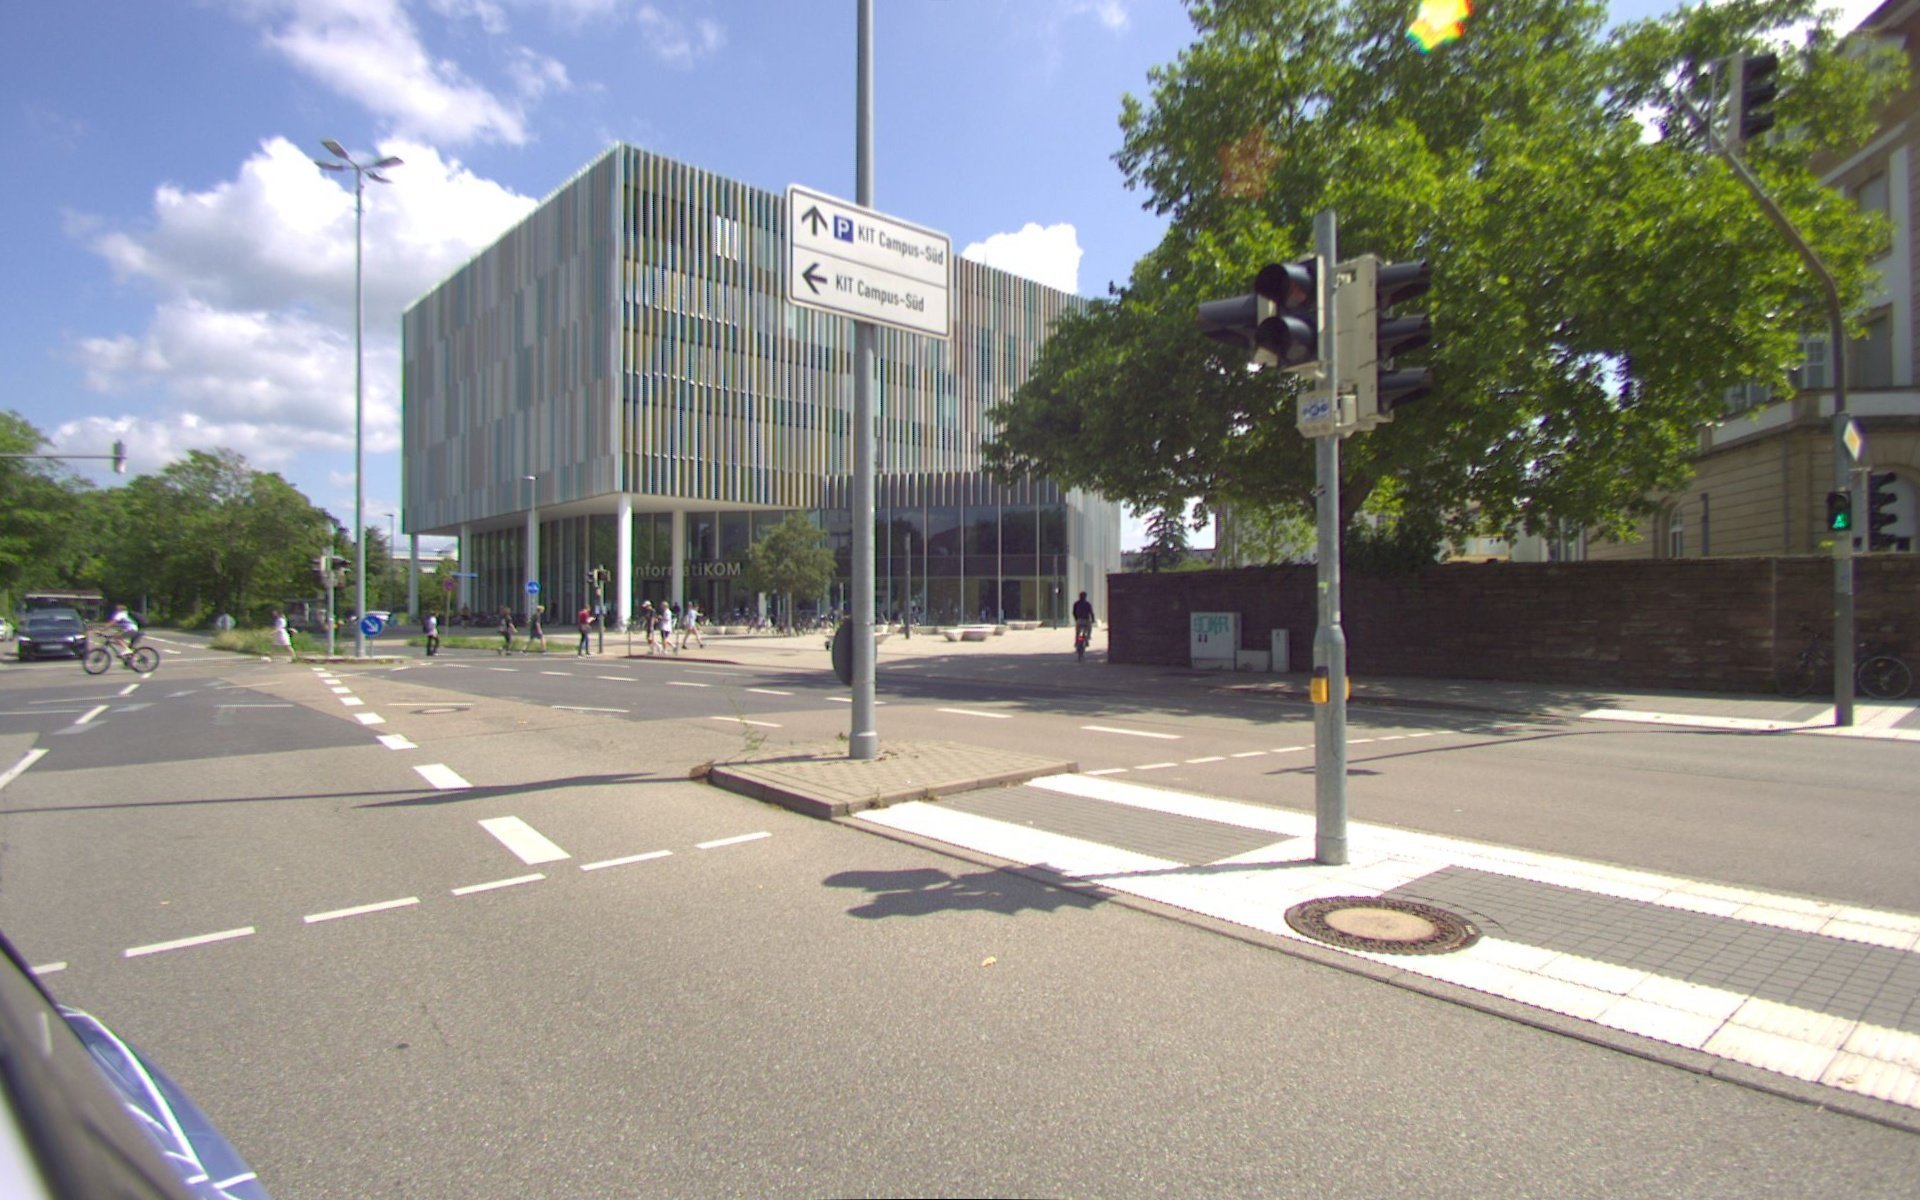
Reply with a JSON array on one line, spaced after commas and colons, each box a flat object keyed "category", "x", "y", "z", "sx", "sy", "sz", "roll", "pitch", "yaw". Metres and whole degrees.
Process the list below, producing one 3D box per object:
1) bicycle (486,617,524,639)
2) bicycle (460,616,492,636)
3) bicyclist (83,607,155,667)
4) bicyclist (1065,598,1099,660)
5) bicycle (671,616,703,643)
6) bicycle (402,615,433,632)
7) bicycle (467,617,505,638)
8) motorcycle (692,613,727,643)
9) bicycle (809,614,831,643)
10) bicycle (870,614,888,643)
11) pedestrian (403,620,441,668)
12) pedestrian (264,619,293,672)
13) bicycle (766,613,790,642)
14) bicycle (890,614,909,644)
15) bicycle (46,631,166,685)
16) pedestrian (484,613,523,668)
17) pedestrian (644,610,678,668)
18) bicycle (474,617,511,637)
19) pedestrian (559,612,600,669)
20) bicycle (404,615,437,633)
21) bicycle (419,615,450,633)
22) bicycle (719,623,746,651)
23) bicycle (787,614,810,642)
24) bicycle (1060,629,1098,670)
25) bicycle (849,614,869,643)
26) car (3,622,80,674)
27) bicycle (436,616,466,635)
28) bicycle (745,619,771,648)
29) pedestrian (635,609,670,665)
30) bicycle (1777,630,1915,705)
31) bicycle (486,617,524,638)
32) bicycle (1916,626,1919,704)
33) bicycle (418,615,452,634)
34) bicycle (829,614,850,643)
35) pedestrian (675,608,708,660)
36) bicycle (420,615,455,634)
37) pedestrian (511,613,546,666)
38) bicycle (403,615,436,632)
[{"category": "bicycle", "x": -32.699, "y": 2.011, "z": 72.786, "sx": 2.415, "sy": 1.506, "sz": 0.622, "roll": 0, "pitch": -1, "yaw": -40}, {"category": "bicycle", "x": -37.223, "y": 2.026, "z": 77.858, "sx": 2.167, "sy": 1.506, "sz": 0.622, "roll": 0, "pitch": -1, "yaw": -40}, {"category": "bicyclist", "x": -20.982, "y": 0.896, "z": 25.278, "sx": 1.059, "sy": 1.455, "sz": 0.974, "roll": 0, "pitch": -1, "yaw": -12}, {"category": "bicyclist", "x": 3.377, "y": 0.793, "z": 27.983, "sx": 0.778, "sy": 1.680, "sz": 1.104, "roll": -1, "pitch": -1, "yaw": 15}, {"category": "bicycle", "x": -15.629, "y": 1.679, "z": 57.971, "sx": 0.921, "sy": 1.505, "sz": 2.684, "roll": -1, "pitch": -1, "yaw": 4}, {"category": "bicycle", "x": -47.921, "y": 2.063, "z": 89.390, "sx": 2.268, "sy": 1.506, "sz": 0.658, "roll": 0, "pitch": -1, "yaw": -40}, {"category": "bicycle", "x": -35.321, "y": 2.018, "z": 75.402, "sx": 2.474, "sy": 1.506, "sz": 0.622, "roll": 0, "pitch": -1, "yaw": -40}, {"category": "motorcycle", "x": -14.291, "y": 1.574, "z": 57.871, "sx": 0.959, "sy": 1.652, "sz": 3.294, "roll": 0, "pitch": -1, "yaw": 4}, {"category": "bicycle", "x": -7.847, "y": 1.557, "z": 56.833, "sx": 0.985, "sy": 1.564, "sz": 3.418, "roll": 0, "pitch": -1, "yaw": -4}, {"category": "bicycle", "x": -4.512, "y": 1.567, "z": 56.612, "sx": 0.985, "sy": 1.564, "sz": 3.418, "roll": 0, "pitch": -1, "yaw": -4}, {"category": "pedestrian", "x": -18.671, "y": 1.516, "z": 35.123, "sx": 0.972, "sy": 1.641, "sz": 0.867, "roll": -1, "pitch": -1, "yaw": 42}, {"category": "pedestrian", "x": -19.818, "y": 1.326, "z": 29.440, "sx": 0.415, "sy": 1.515, "sz": 0.584, "roll": -1, "pitch": -1, "yaw": 31}, {"category": "bicycle", "x": -10.335, "y": 1.553, "z": 57.474, "sx": 0.985, "sy": 1.564, "sz": 3.418, "roll": 0, "pitch": -1, "yaw": -4}, {"category": "bicycle", "x": -3.343, "y": 1.552, "z": 55.422, "sx": 0.985, "sy": 1.564, "sz": 3.418, "roll": 0, "pitch": -1, "yaw": -4}, {"category": "bicycle", "x": -21.229, "y": 1.421, "z": 25.208, "sx": 2.130, "sy": 1.261, "sz": 0.887, "roll": 0, "pitch": -1, "yaw": -11}, {"category": "pedestrian", "x": -16.302, "y": 1.424, "z": 36.148, "sx": 0.966, "sy": 1.940, "sz": 0.872, "roll": -1, "pitch": -1, "yaw": 24}, {"category": "pedestrian", "x": -10.270, "y": 1.333, "z": 34.723, "sx": 1.090, "sy": 1.940, "sz": 0.975, "roll": 0, "pitch": -1, "yaw": -18}, {"category": "bicycle", "x": -35.352, "y": 2.024, "z": 76.565, "sx": 2.474, "sy": 1.506, "sz": 0.622, "roll": 0, "pitch": -1, "yaw": -40}, {"category": "pedestrian", "x": -13.340, "y": 1.409, "z": 35.465, "sx": 1.091, "sy": 1.940, "sz": 0.974, "roll": 0, "pitch": -1, "yaw": -38}, {"category": "bicycle", "x": -46.782, "y": 2.057, "z": 87.744, "sx": 2.474, "sy": 1.506, "sz": 0.622, "roll": 0, "pitch": -1, "yaw": -40}, {"category": "bicycle", "x": -44.679, "y": 2.052, "z": 86.085, "sx": 2.295, "sy": 1.506, "sz": 0.622, "roll": 0, "pitch": -1, "yaw": -40}, {"category": "bicycle", "x": -12.985, "y": 2.098, "z": 57.891, "sx": 1.036, "sy": 1.564, "sz": 3.418, "roll": 0, "pitch": -1, "yaw": -4}, {"category": "bicycle", "x": -9.119, "y": 1.557, "z": 57.302, "sx": 0.985, "sy": 1.564, "sz": 3.418, "roll": 0, "pitch": -1, "yaw": -4}, {"category": "bicycle", "x": 3.290, "y": 1.343, "z": 27.909, "sx": 0.809, "sy": 1.071, "sz": 1.887, "roll": -1, "pitch": -1, "yaw": 14}, {"category": "bicycle", "x": -5.635, "y": 1.561, "z": 56.566, "sx": 0.985, "sy": 1.564, "sz": 3.418, "roll": 0, "pitch": -1, "yaw": -4}, {"category": "car", "x": -31.033, "y": 1.565, "z": 34.212, "sx": 1.819, "sy": 1.614, "sz": 4.005, "roll": 0, "pitch": -1, "yaw": -42}, {"category": "bicycle", "x": -41.513, "y": 2.041, "z": 82.538, "sx": 2.040, "sy": 1.506, "sz": 0.622, "roll": 0, "pitch": -1, "yaw": -40}, {"category": "bicycle", "x": -11.484, "y": 1.869, "z": 57.639, "sx": 0.985, "sy": 1.564, "sz": 3.418, "roll": 0, "pitch": -1, "yaw": -4}, {"category": "pedestrian", "x": -10.910, "y": 1.282, "z": 35.885, "sx": 1.090, "sy": 1.940, "sz": 0.975, "roll": 0, "pitch": -1, "yaw": -24}, {"category": "bicycle", "x": 13.899, "y": 1.028, "z": 15.913, "sx": 1.594, "sy": 1.107, "sz": 0.565, "roll": -1, "pitch": -1, "yaw": 42}, {"category": "bicycle", "x": -33.140, "y": 2.013, "z": 73.737, "sx": 2.470, "sy": 1.506, "sz": 0.732, "roll": 0, "pitch": -1, "yaw": -30}, {"category": "bicycle", "x": 15.108, "y": 0.967, "z": 14.796, "sx": 1.594, "sy": 1.161, "sz": 0.493, "roll": -1, "pitch": -1, "yaw": 42}, {"category": "bicycle", "x": -44.146, "y": 2.048, "z": 85.130, "sx": 2.474, "sy": 1.506, "sz": 0.622, "roll": 0, "pitch": -1, "yaw": -40}, {"category": "bicycle", "x": -6.728, "y": 1.559, "z": 56.785, "sx": 0.985, "sy": 1.564, "sz": 3.418, "roll": 0, "pitch": -1, "yaw": -4}, {"category": "pedestrian", "x": -10.283, "y": 1.294, "z": 38.749, "sx": 1.090, "sy": 1.940, "sz": 0.975, "roll": 0, "pitch": -1, "yaw": -22}, {"category": "bicycle", "x": -43.491, "y": 2.046, "z": 84.223, "sx": 2.474, "sy": 1.506, "sz": 0.622, "roll": 0, "pitch": -1, "yaw": -40}, {"category": "pedestrian", "x": -16.112, "y": 1.471, "z": 37.812, "sx": 0.971, "sy": 1.940, "sz": 0.867, "roll": -1, "pitch": -1, "yaw": 40}, {"category": "bicycle", "x": -47.156, "y": 2.058, "z": 88.348, "sx": 2.474, "sy": 1.506, "sz": 0.622, "roll": 0, "pitch": -1, "yaw": -40}]
